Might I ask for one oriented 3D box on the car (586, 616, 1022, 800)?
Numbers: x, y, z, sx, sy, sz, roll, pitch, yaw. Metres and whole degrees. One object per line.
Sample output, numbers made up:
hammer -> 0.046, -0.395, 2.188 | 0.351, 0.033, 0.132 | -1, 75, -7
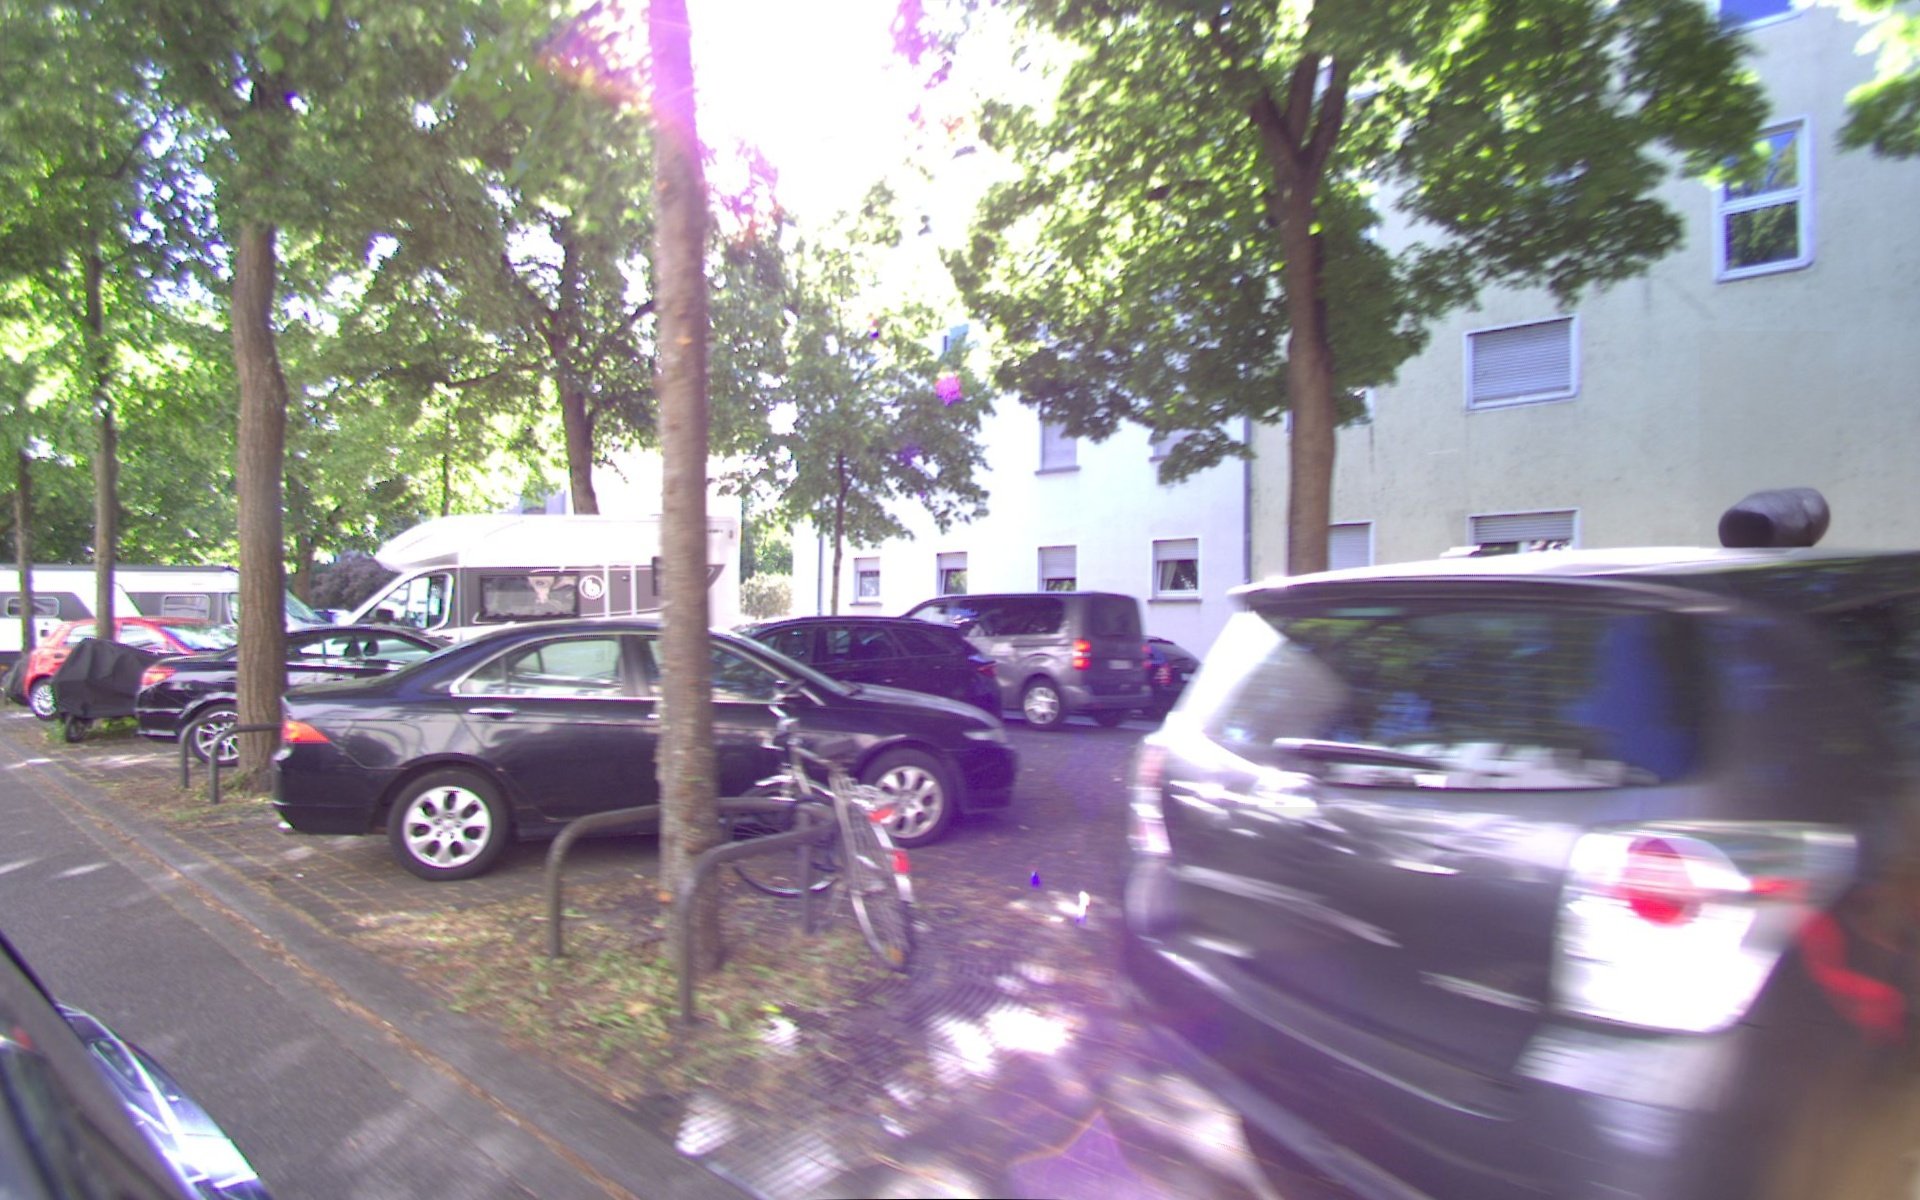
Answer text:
car -> -1.542, 0.922, 10.148 | 3.931, 1.497, 1.836 | 0, -1, -28

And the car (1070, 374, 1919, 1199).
car -> 2.539, 0.571, 2.747 | 4.018, 1.665, 1.869 | -1, -1, -22

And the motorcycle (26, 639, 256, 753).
motorcycle -> -9.939, 1.118, 12.376 | 2.120, 1.239, 0.883 | 1, -2, -40

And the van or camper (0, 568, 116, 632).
van or camper -> -46.093, 0.030, 50.186 | 5.929, 3.025, 2.407 | 1, -3, -20

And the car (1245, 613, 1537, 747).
car -> 6.091, 1.112, 14.506 | 3.597, 1.689, 1.459 | -2, -6, 39

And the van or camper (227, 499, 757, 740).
van or camper -> -6.159, 0.213, 14.142 | 6.197, 2.846, 2.415 | -1, -1, -20

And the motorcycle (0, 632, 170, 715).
motorcycle -> -15.309, 1.231, 17.580 | 0.966, 1.345, 2.301 | -1, -2, 32

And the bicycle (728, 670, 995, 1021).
bicycle -> -0.503, 0.907, 4.340 | 0.422, 1.139, 1.683 | 1, -2, -33

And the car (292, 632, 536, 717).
car -> -10.816, 1.446, 20.399 | 4.066, 1.497, 1.840 | 1, 1, -19

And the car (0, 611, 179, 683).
car -> -22.353, 1.183, 25.362 | 4.030, 1.537, 1.707 | -3, -1, -18

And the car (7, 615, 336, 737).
car -> -11.525, 1.073, 14.901 | 3.837, 1.630, 1.658 | 0, -2, 10

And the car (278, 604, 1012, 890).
car -> -1.802, 0.830, 6.527 | 3.953, 1.485, 1.630 | 1, -3, -13

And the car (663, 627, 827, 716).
car -> -5.371, 1.708, 25.101 | 3.998, 2.029, 1.973 | -2, -3, 41

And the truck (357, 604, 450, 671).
truck -> -21.481, 1.432, 38.987 | 4.264, 2.428, 1.900 | -2, -3, 44

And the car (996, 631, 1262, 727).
car -> 2.828, 1.281, 17.540 | 4.300, 1.409, 1.628 | -2, 0, 39

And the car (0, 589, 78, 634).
car -> -55.495, 0.657, 58.676 | 6.094, 2.530, 2.145 | 1, -3, -21

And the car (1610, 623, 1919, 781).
car -> 9.510, 1.080, 11.337 | 3.576, 1.588, 1.600 | -2, -4, 39

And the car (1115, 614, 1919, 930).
car -> 3.209, 0.797, 5.987 | 4.128, 1.401, 1.823 | 0, -1, -15

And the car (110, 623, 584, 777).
car -> -6.315, 0.980, 10.977 | 4.086, 1.436, 1.720 | 0, -1, -17

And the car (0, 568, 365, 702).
car -> -16.348, 0.678, 21.273 | 6.220, 2.578, 2.345 | 0, -1, -16
